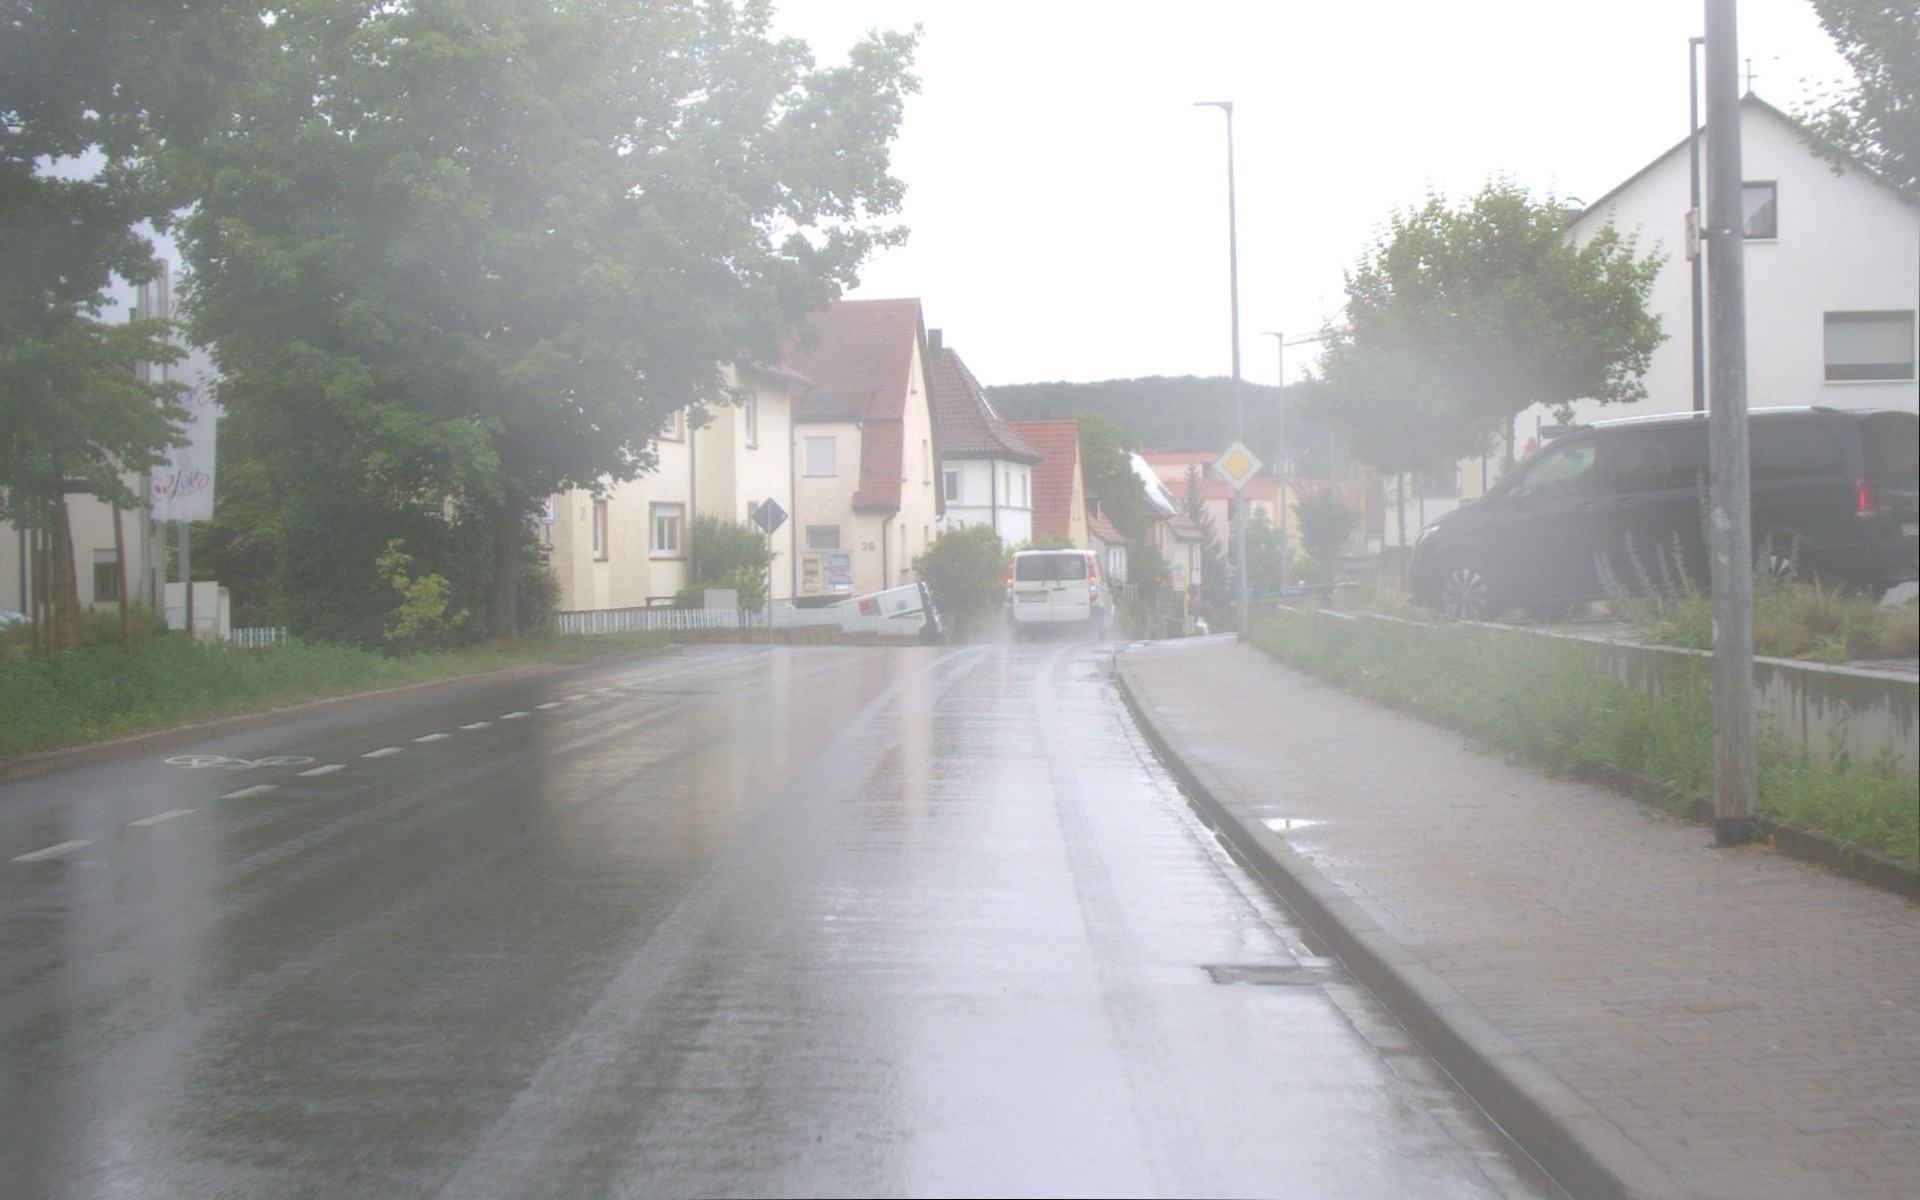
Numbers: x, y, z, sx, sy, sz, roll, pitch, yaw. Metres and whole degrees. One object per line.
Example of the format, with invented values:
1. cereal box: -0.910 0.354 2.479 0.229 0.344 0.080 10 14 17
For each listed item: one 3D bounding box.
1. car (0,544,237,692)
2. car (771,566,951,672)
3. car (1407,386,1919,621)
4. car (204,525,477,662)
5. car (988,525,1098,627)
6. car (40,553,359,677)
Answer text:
1. car: -8.872 0.193 32.010 3.900 1.280 1.582 -2 0 1
2. car: -2.813 0.533 98.417 4.555 2.006 2.159 -12 0 8
3. car: 7.004 -0.860 32.490 5.110 1.913 2.049 -2 0 38
4. car: -7.201 -0.061 40.070 2.908 1.450 1.253 -2 -2 1
5. car: 1.676 -0.505 68.525 2.117 1.881 4.502 1 2 2
6. car: -7.793 0.148 35.368 2.908 1.155 1.471 -2 0 1
